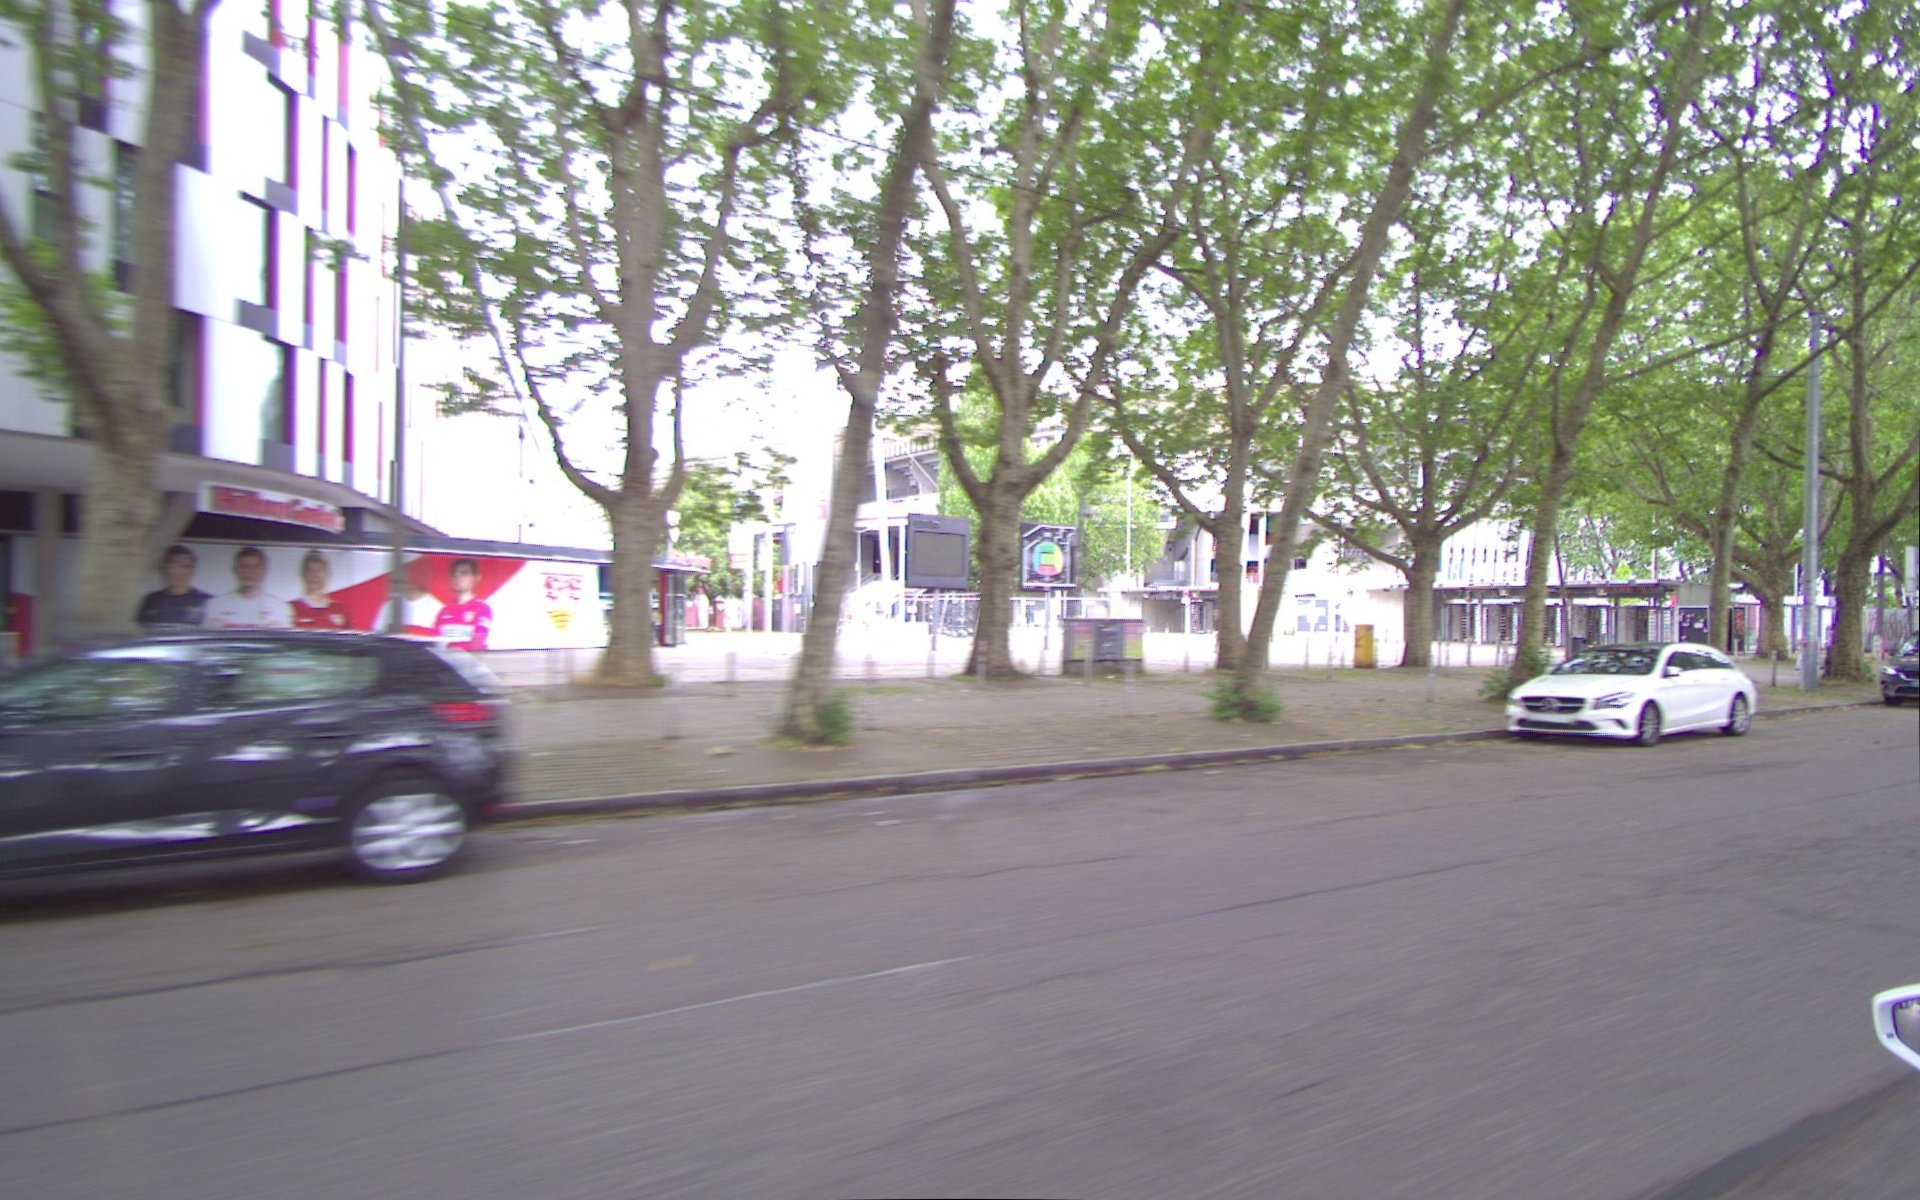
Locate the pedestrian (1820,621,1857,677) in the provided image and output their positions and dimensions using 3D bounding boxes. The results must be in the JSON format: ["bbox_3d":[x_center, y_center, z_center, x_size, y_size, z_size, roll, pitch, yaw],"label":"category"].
[{"bbox_3d":[28.625,1.580,32.741,0.755,1.793,0.577,1,0,-15],"label":"pedestrian"}]

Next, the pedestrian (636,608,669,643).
[{"bbox_3d":[-13.184,1.082,43.098,1.099,1.481,1.038,1,-1,-33],"label":"pedestrian"}]

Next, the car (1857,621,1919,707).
[{"bbox_3d":[21.654,1.364,21.831,4.585,1.773,1.939,1,-2,-31],"label":"car"}]

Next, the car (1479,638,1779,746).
[{"bbox_3d":[10.182,1.311,15.212,4.696,1.421,1.895,1,-4,-30],"label":"car"}]

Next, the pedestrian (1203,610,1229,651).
[{"bbox_3d":[10.851,1.281,42.594,0.798,1.714,0.722,1,-1,-27],"label":"pedestrian"}]

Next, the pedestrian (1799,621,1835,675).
[{"bbox_3d":[28.445,1.584,33.354,0.755,1.765,0.575,1,0,-15],"label":"pedestrian"}]

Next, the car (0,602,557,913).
[{"bbox_3d":[-4.829,0.825,5.890,4.390,1.514,1.825,1,-4,-30],"label":"car"}]
